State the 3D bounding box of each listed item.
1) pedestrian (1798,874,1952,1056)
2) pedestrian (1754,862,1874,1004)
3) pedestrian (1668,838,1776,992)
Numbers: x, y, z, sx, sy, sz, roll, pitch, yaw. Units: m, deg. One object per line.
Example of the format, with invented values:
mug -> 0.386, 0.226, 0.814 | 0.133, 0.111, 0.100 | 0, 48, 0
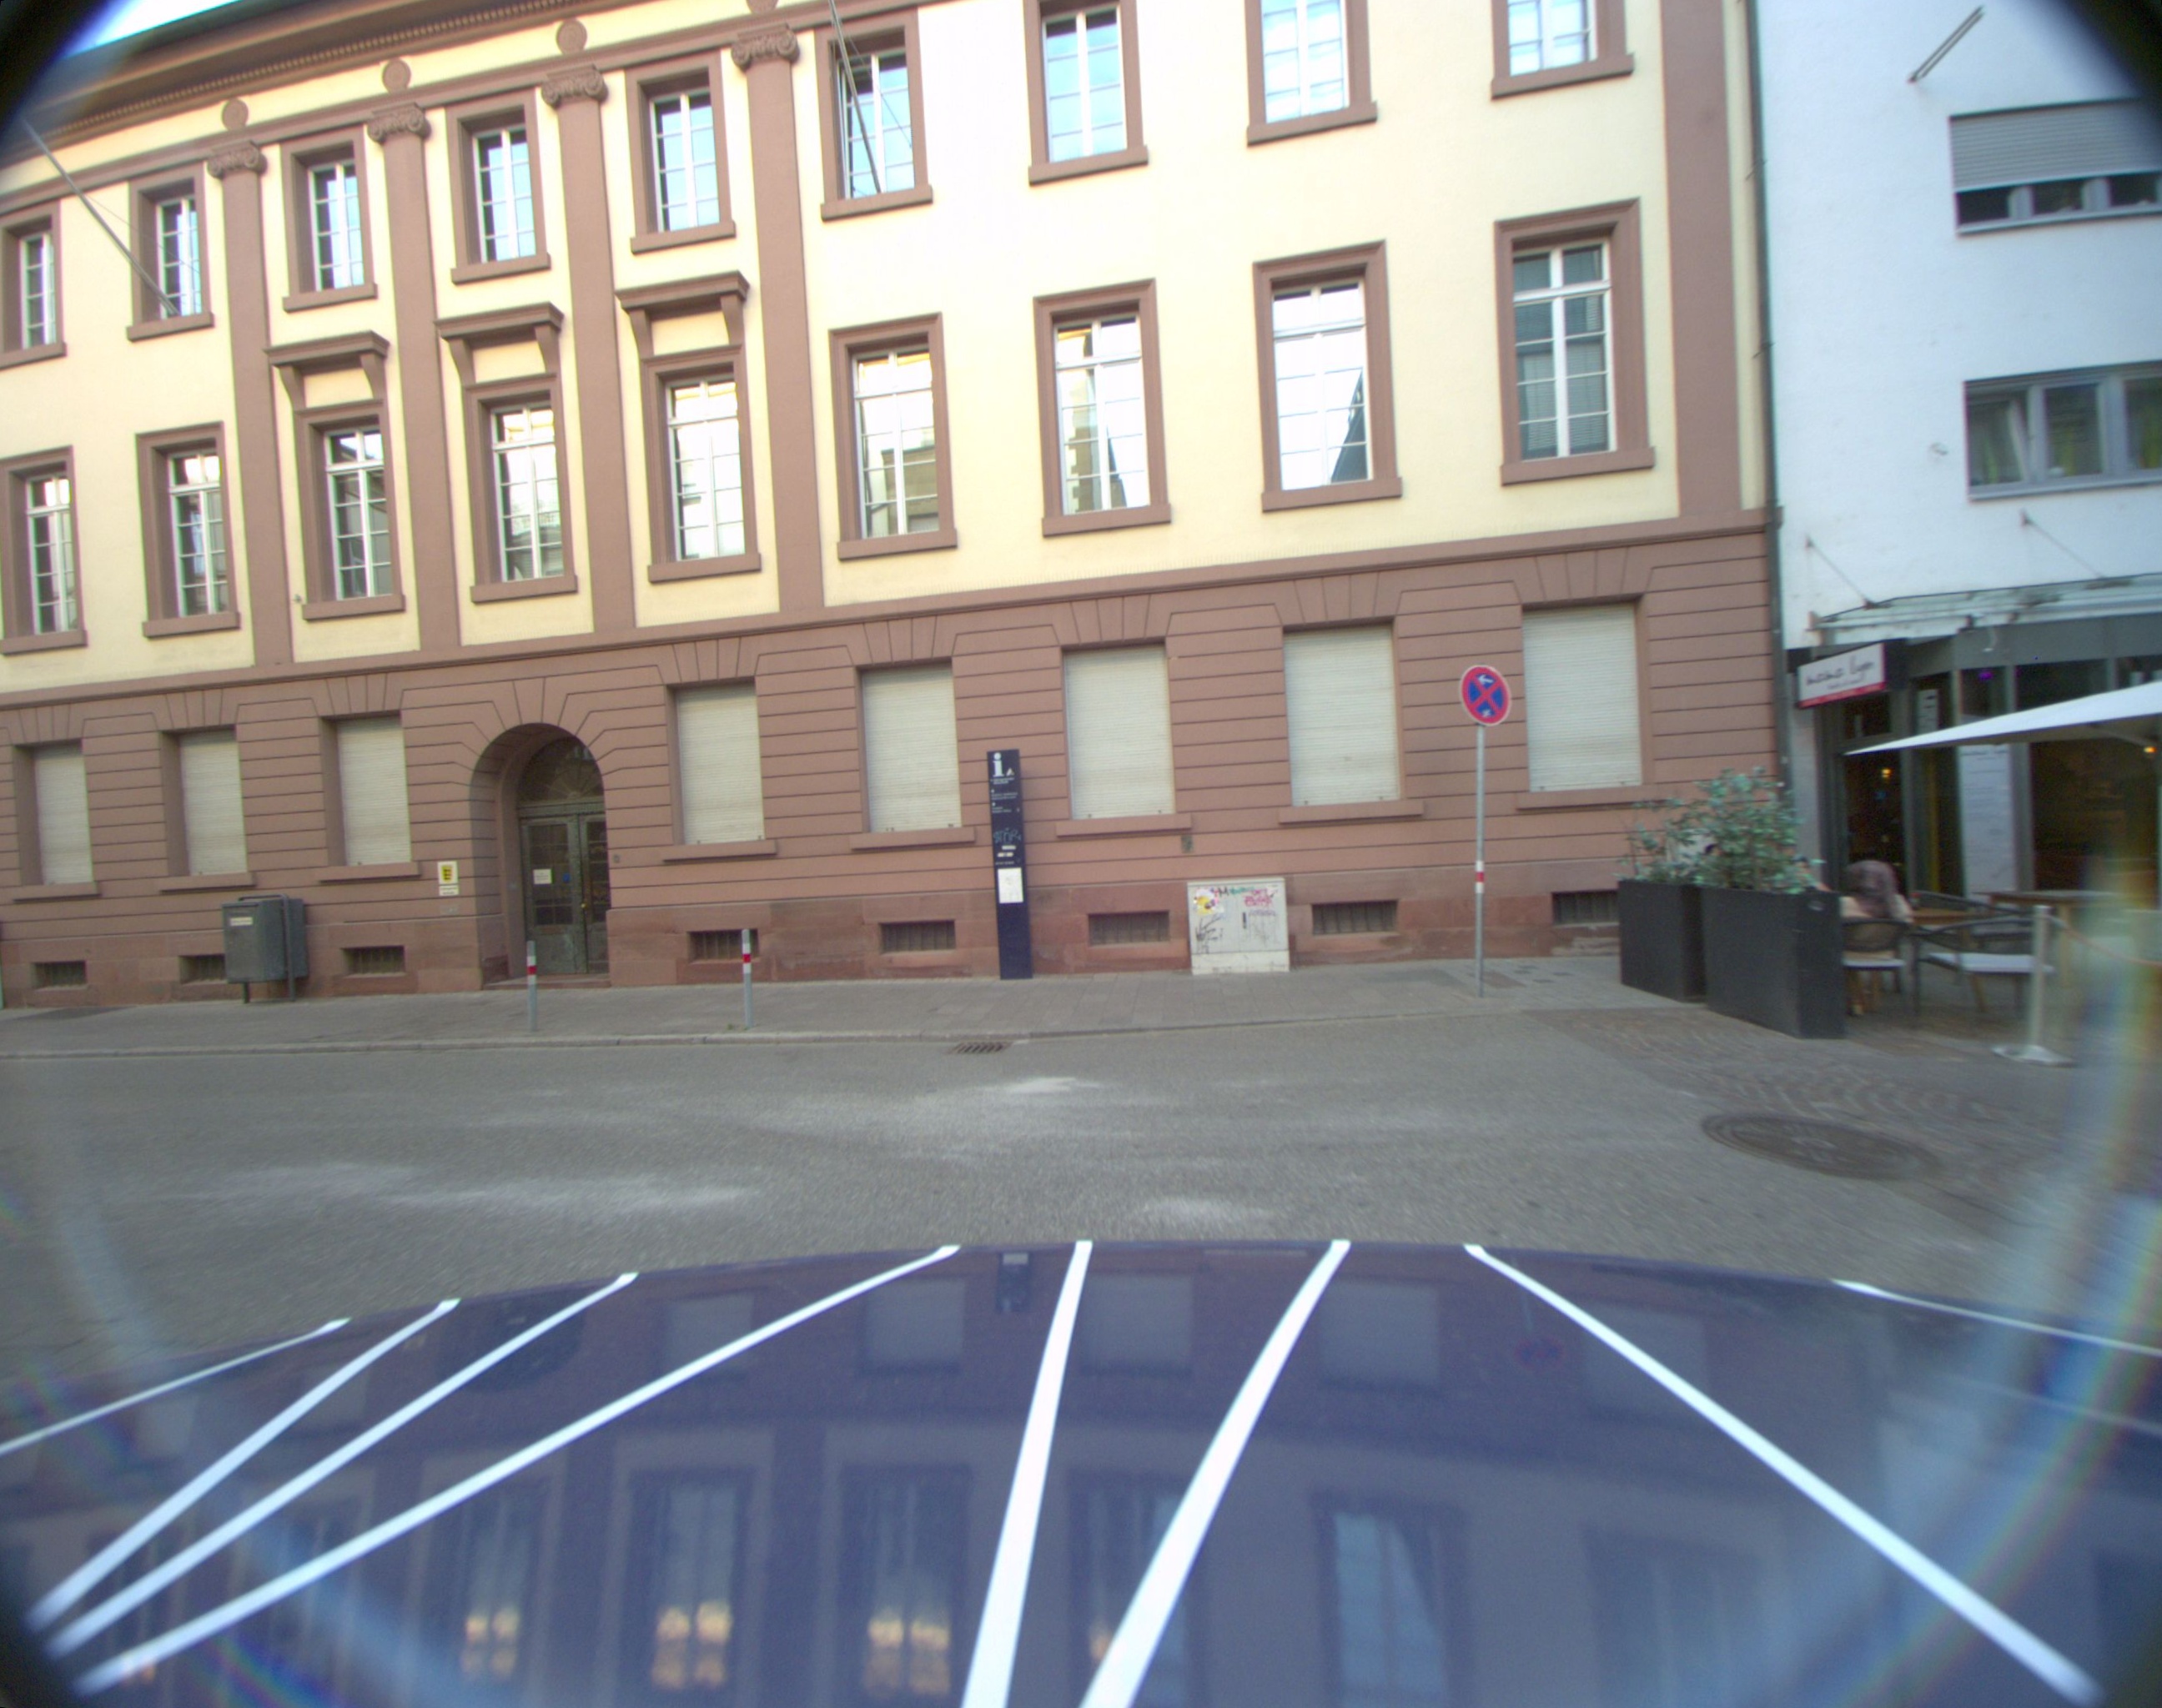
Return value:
pedestrian -> 5.575, 0.763, 5.361 | 0.561, 1.204, 0.461 | -3, 1, 10
pedestrian -> 6.595, 0.695, 6.862 | 0.548, 1.204, 0.524 | -3, 1, 10
pedestrian -> 5.860, 0.543, 6.966 | 0.548, 1.341, 0.489 | -3, 1, 10
